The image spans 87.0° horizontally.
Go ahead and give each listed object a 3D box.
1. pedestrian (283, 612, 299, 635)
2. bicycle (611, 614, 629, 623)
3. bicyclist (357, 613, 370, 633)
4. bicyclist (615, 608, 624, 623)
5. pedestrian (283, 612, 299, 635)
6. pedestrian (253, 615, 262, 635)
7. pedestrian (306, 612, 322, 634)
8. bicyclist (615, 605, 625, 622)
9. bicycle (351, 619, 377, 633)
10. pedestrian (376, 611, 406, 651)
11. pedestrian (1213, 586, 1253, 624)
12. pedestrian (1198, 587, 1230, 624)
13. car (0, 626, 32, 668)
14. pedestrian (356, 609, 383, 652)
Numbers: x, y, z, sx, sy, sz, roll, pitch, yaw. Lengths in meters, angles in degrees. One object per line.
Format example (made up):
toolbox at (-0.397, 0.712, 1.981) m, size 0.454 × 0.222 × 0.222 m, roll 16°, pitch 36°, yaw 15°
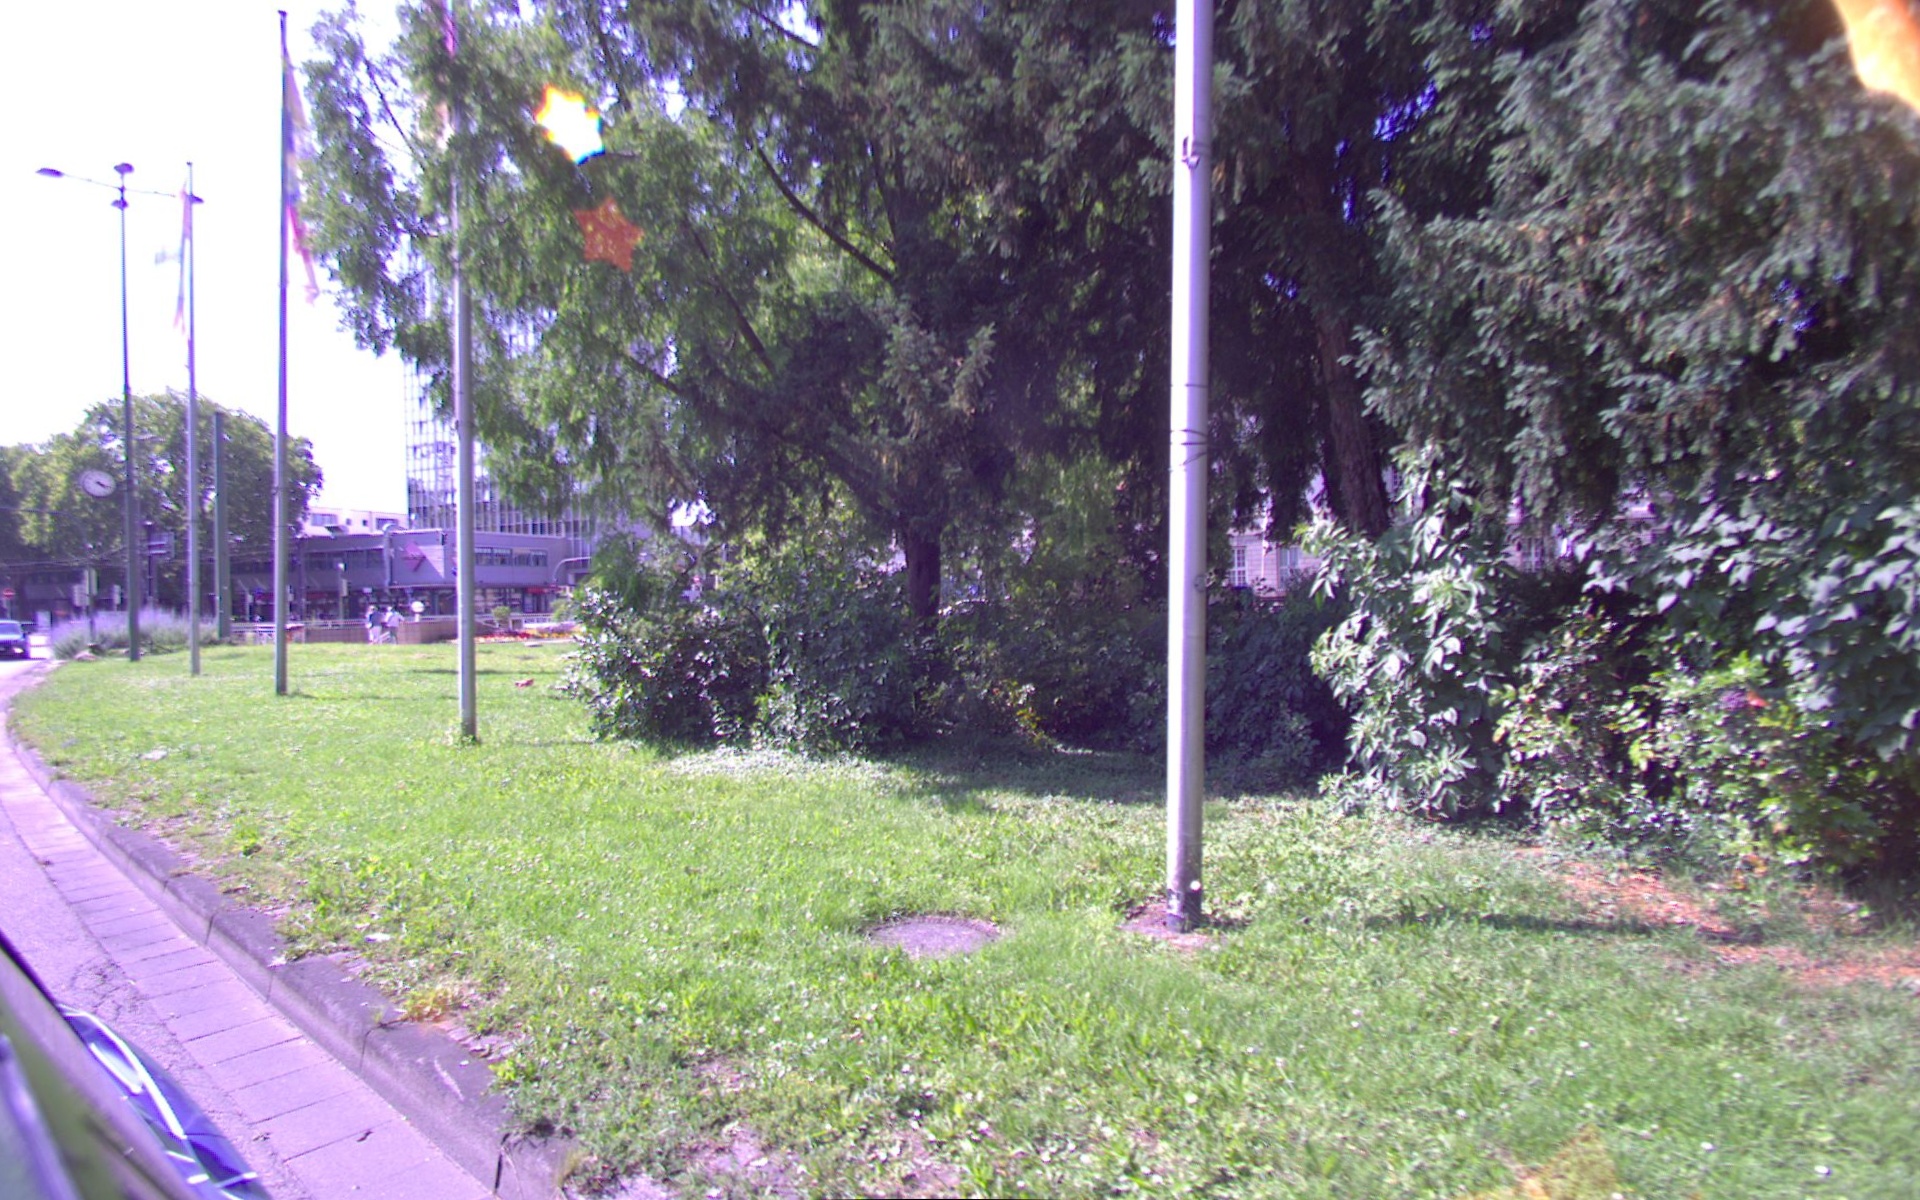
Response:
pedestrian at (-54.415, 1.883, 82.290) m, size 0.666 × 1.850 × 0.818 m, roll -1°, pitch 0°, yaw 19°
bicycle at (-35.350, 1.931, 105.285) m, size 0.591 × 0.889 × 1.792 m, roll 0°, pitch 1°, yaw 31°
bicyclist at (-51.404, 1.969, 87.231) m, size 0.580 × 1.700 × 0.678 m, roll -2°, pitch 0°, yaw 24°
bicyclist at (-35.375, 1.607, 105.256) m, size 0.580 × 1.538 × 0.677 m, roll 0°, pitch 1°, yaw 31°
pedestrian at (-54.991, 1.904, 83.205) m, size 0.666 × 1.850 × 0.818 m, roll -1°, pitch 0°, yaw 19°
pedestrian at (-58.052, 2.052, 83.637) m, size 0.556 × 1.650 × 0.601 m, roll 0°, pitch -1°, yaw -36°
pedestrian at (-53.689, 1.922, 84.126) m, size 0.729 × 1.850 × 0.818 m, roll -1°, pitch 0°, yaw 20°
bicyclist at (-36.062, 1.440, 107.378) m, size 0.696 × 1.781 × 0.675 m, roll 0°, pitch 1°, yaw 37°
bicycle at (-51.388, 2.255, 87.227) m, size 0.573 × 1.110 × 1.954 m, roll -2°, pitch 0°, yaw 23°
pedestrian at (-21.887, 1.193, 38.930) m, size 0.473 × 1.522 × 0.842 m, roll -2°, pitch 0°, yaw 32°
pedestrian at (9.184, 0.167, 34.119) m, size 0.743 × 1.235 × 1.062 m, roll -2°, pitch 0°, yaw -29°
pedestrian at (8.522, 0.184, 33.912) m, size 0.743 × 1.235 × 0.672 m, roll -2°, pitch 0°, yaw -29°
car at (-35.778, 1.722, 37.660) m, size 1.765 × 1.504 × 4.092 m, roll 1°, pitch -2°, yaw -44°
pedestrian at (-22.375, 1.153, 38.350) m, size 0.598 × 1.605 × 0.685 m, roll -2°, pitch 0°, yaw 33°
